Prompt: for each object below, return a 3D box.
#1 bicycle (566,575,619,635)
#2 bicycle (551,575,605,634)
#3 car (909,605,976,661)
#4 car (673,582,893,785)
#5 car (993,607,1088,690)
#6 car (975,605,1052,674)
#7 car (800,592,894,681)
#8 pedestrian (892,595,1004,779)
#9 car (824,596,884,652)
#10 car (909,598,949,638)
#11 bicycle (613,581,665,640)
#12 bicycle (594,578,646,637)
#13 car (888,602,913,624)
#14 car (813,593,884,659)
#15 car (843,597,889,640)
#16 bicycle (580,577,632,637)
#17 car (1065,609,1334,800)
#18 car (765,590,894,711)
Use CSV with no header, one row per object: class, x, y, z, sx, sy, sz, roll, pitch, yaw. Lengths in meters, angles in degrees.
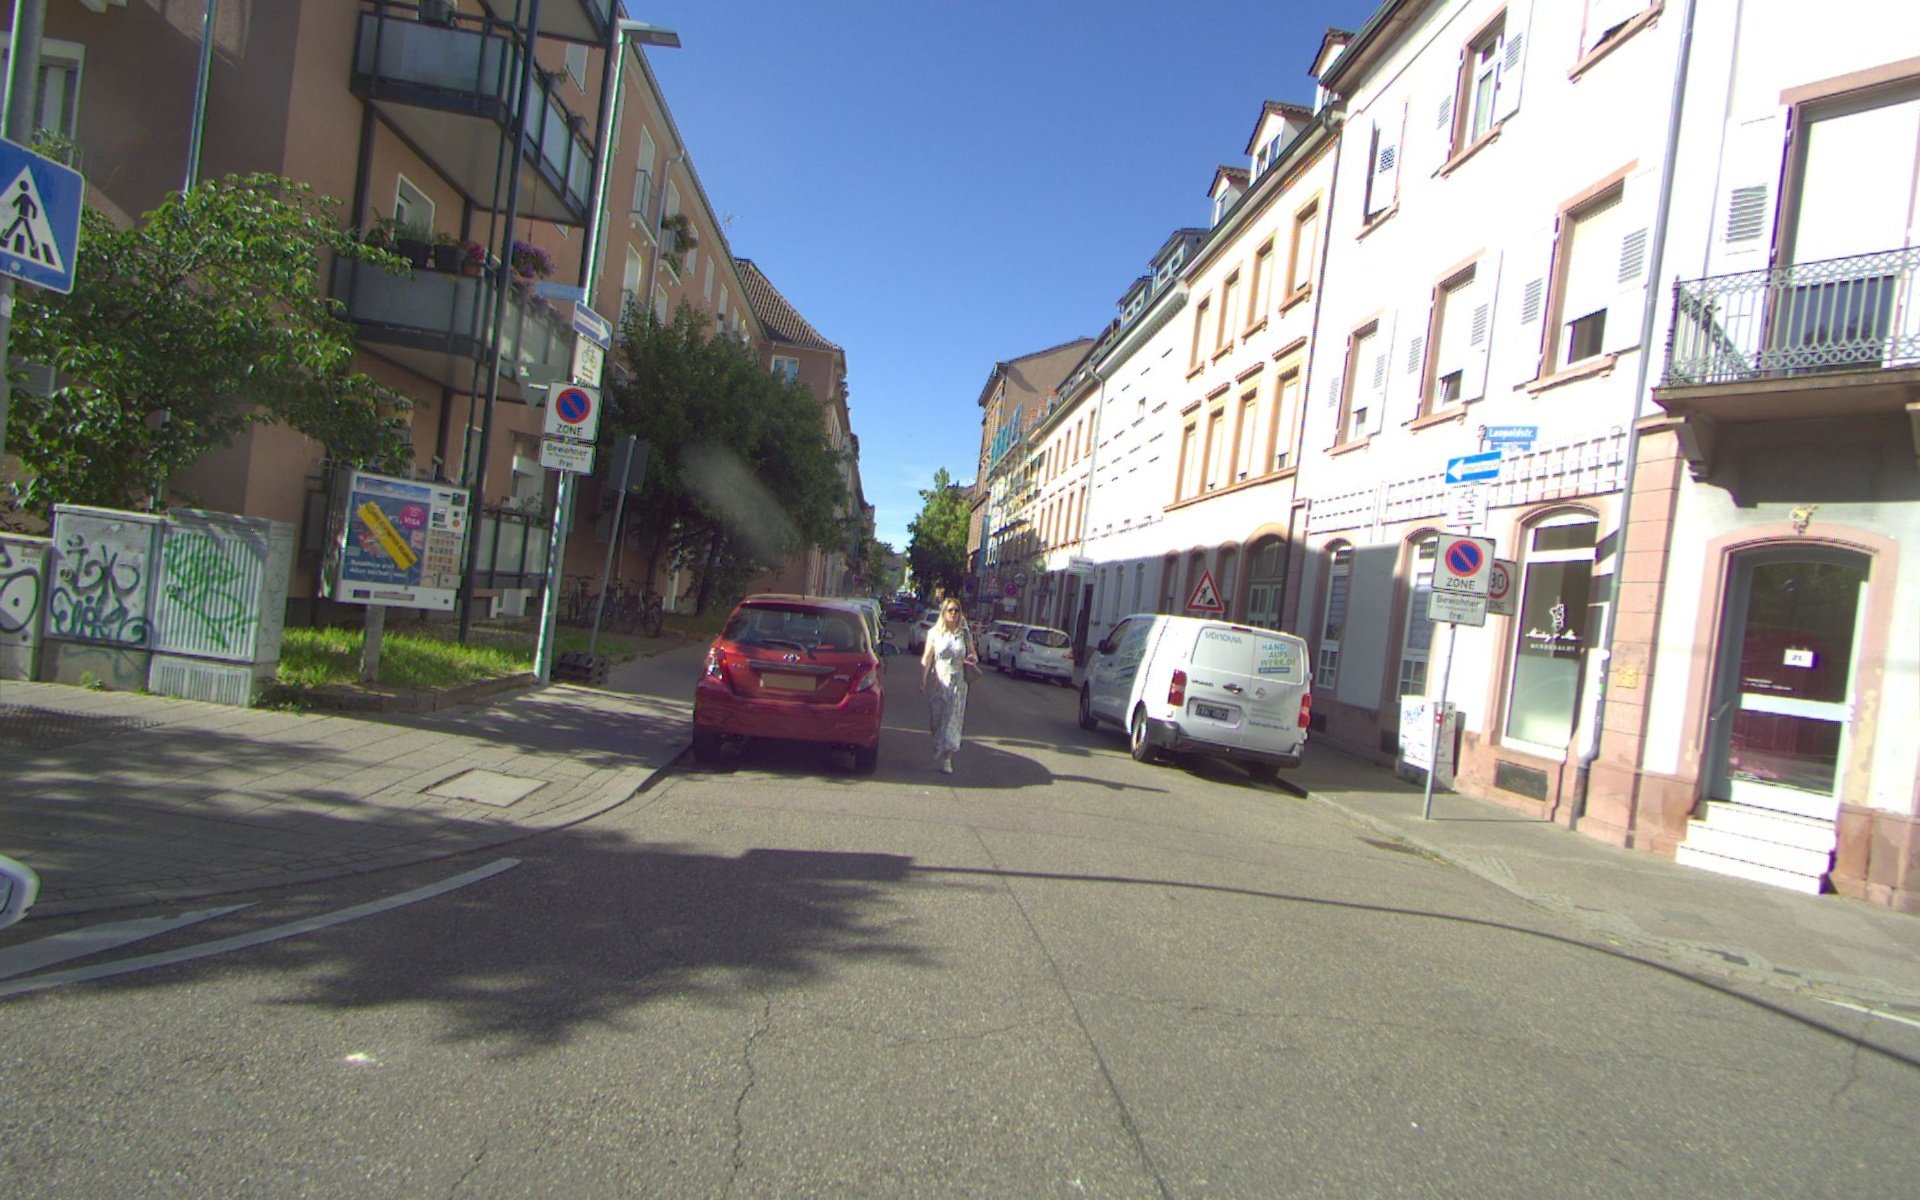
bicycle,-7.480,0.090,20.457,1.197,1.085,0.265,7,1,36
bicycle,-7.679,0.084,20.194,1.197,1.048,0.290,7,1,36
car,-0.627,1.065,32.265,1.804,1.473,3.963,7,-2,-4
car,-1.644,0.701,10.267,1.660,1.519,3.803,6,0,-5
car,2.123,1.259,27.781,1.867,1.882,3.992,7,0,-3
car,1.692,1.246,33.016,1.867,1.882,3.992,7,0,-3
car,-2.319,0.721,21.463,1.629,1.518,3.761,7,0,-3
pedestrian,-0.130,0.812,9.689,0.724,1.634,0.813,6,0,-16
car,-3.400,0.760,32.901,1.629,1.518,3.761,7,0,-3
car,-1.759,0.976,55.271,1.867,1.882,3.992,7,0,-3
bicycle,-6.736,0.209,21.085,1.200,1.085,0.252,7,1,36
bicycle,-7.101,0.151,20.982,1.197,1.085,0.252,7,1,36
car,-4.590,0.957,77.837,1.735,1.427,4.325,7,-1,-3
car,-3.084,0.695,28.399,1.629,1.518,3.761,7,0,-3
car,-3.931,0.752,42.336,1.629,1.518,3.761,7,0,-3
bicycle,-7.295,0.136,20.714,1.197,1.084,0.252,7,1,36
car,3.068,1.249,14.210,1.869,1.881,5.008,10,-1,-6
car,-1.984,0.726,16.292,1.629,1.518,4.077,7,0,-3
